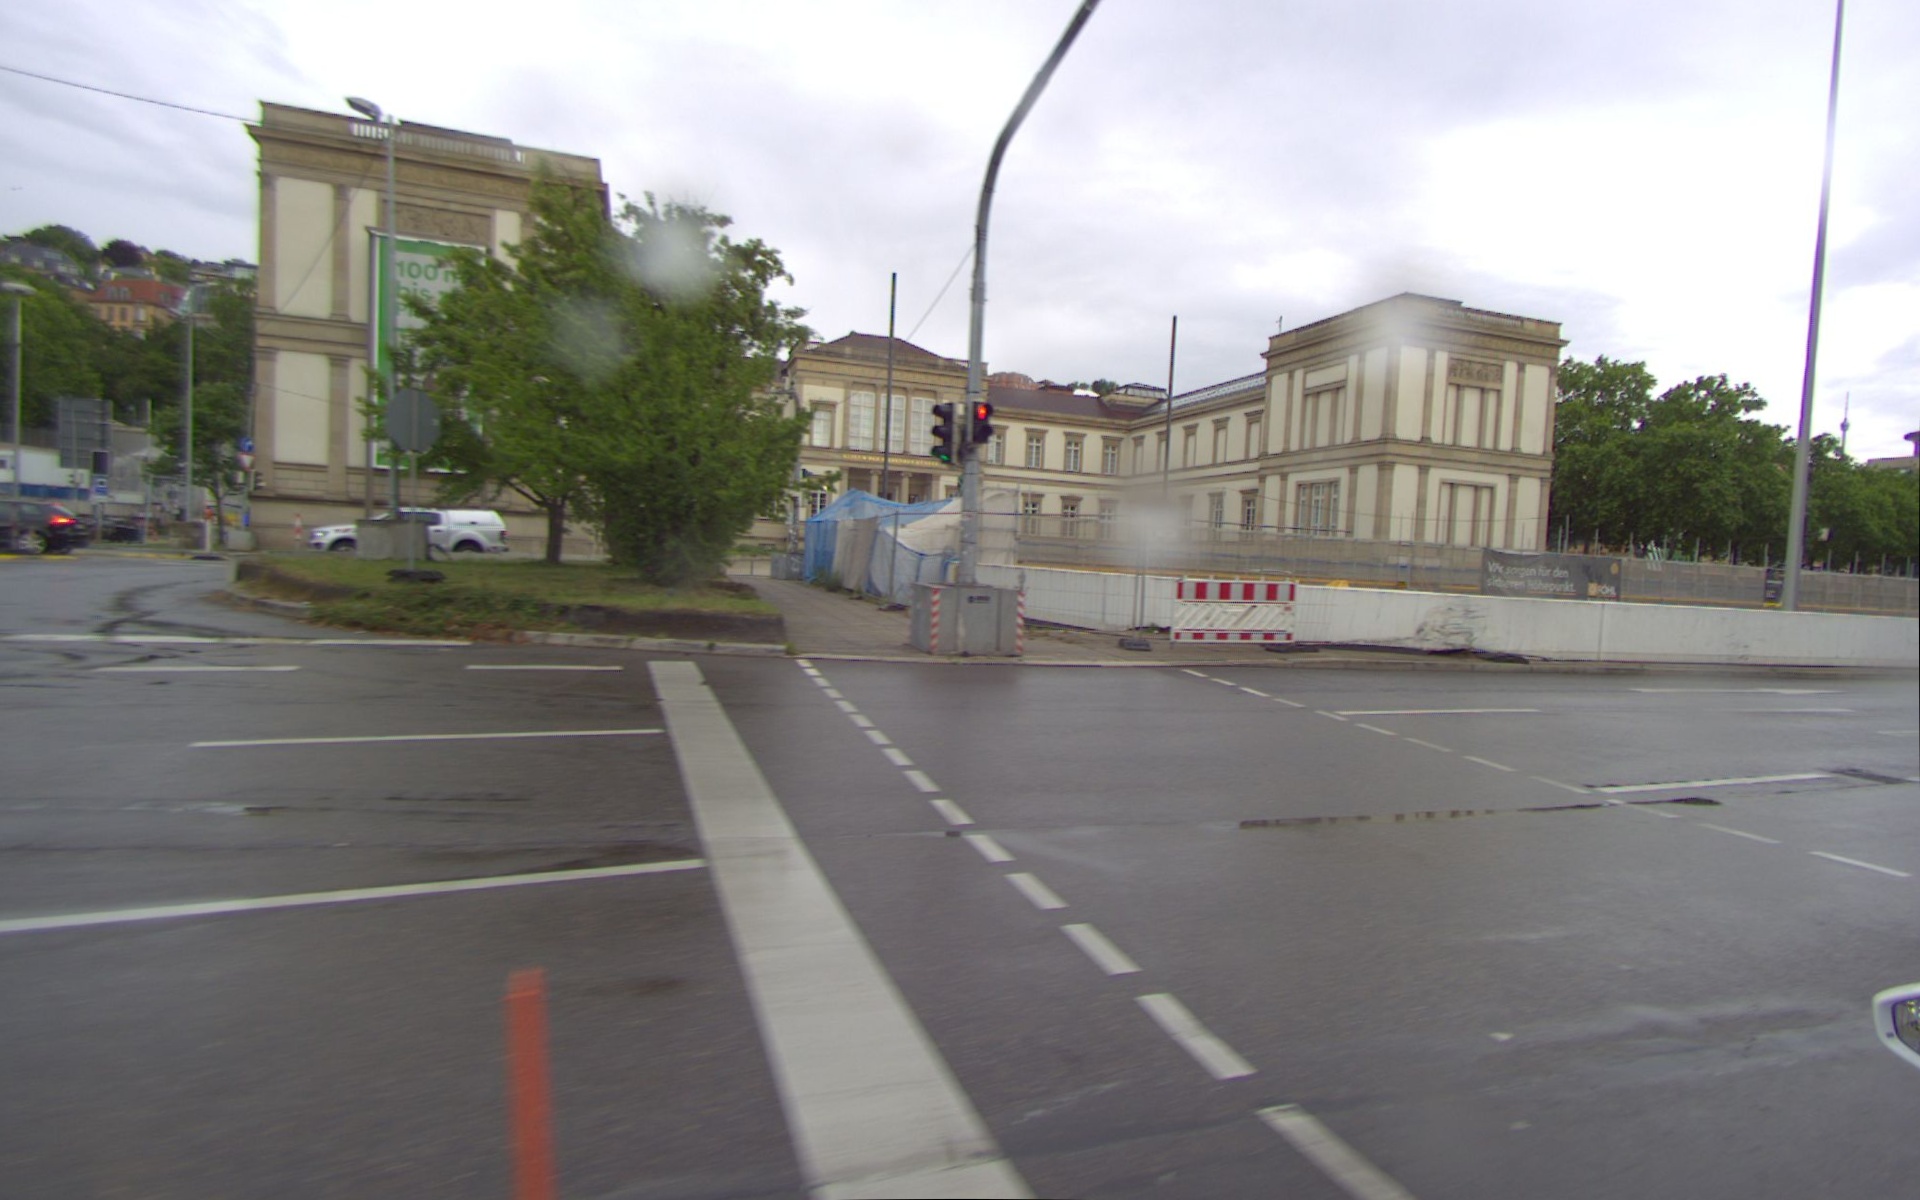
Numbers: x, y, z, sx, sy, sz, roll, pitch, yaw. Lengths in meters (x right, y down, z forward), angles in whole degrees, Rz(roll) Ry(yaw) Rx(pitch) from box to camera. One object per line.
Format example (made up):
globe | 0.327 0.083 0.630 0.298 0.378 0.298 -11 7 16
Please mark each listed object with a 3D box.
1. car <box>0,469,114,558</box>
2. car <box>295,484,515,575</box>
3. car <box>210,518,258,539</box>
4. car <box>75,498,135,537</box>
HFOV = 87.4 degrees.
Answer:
car | -24.904 -2.320 25.606 4.623 2.040 1.989 4 4 -22
car | -16.856 -2.121 30.640 5.624 2.203 2.348 3 5 -34
car | -65.387 -6.486 90.540 1.966 1.656 3.989 5 3 -12
car | -52.334 -5.063 61.525 1.976 2.040 3.969 3 5 -29
